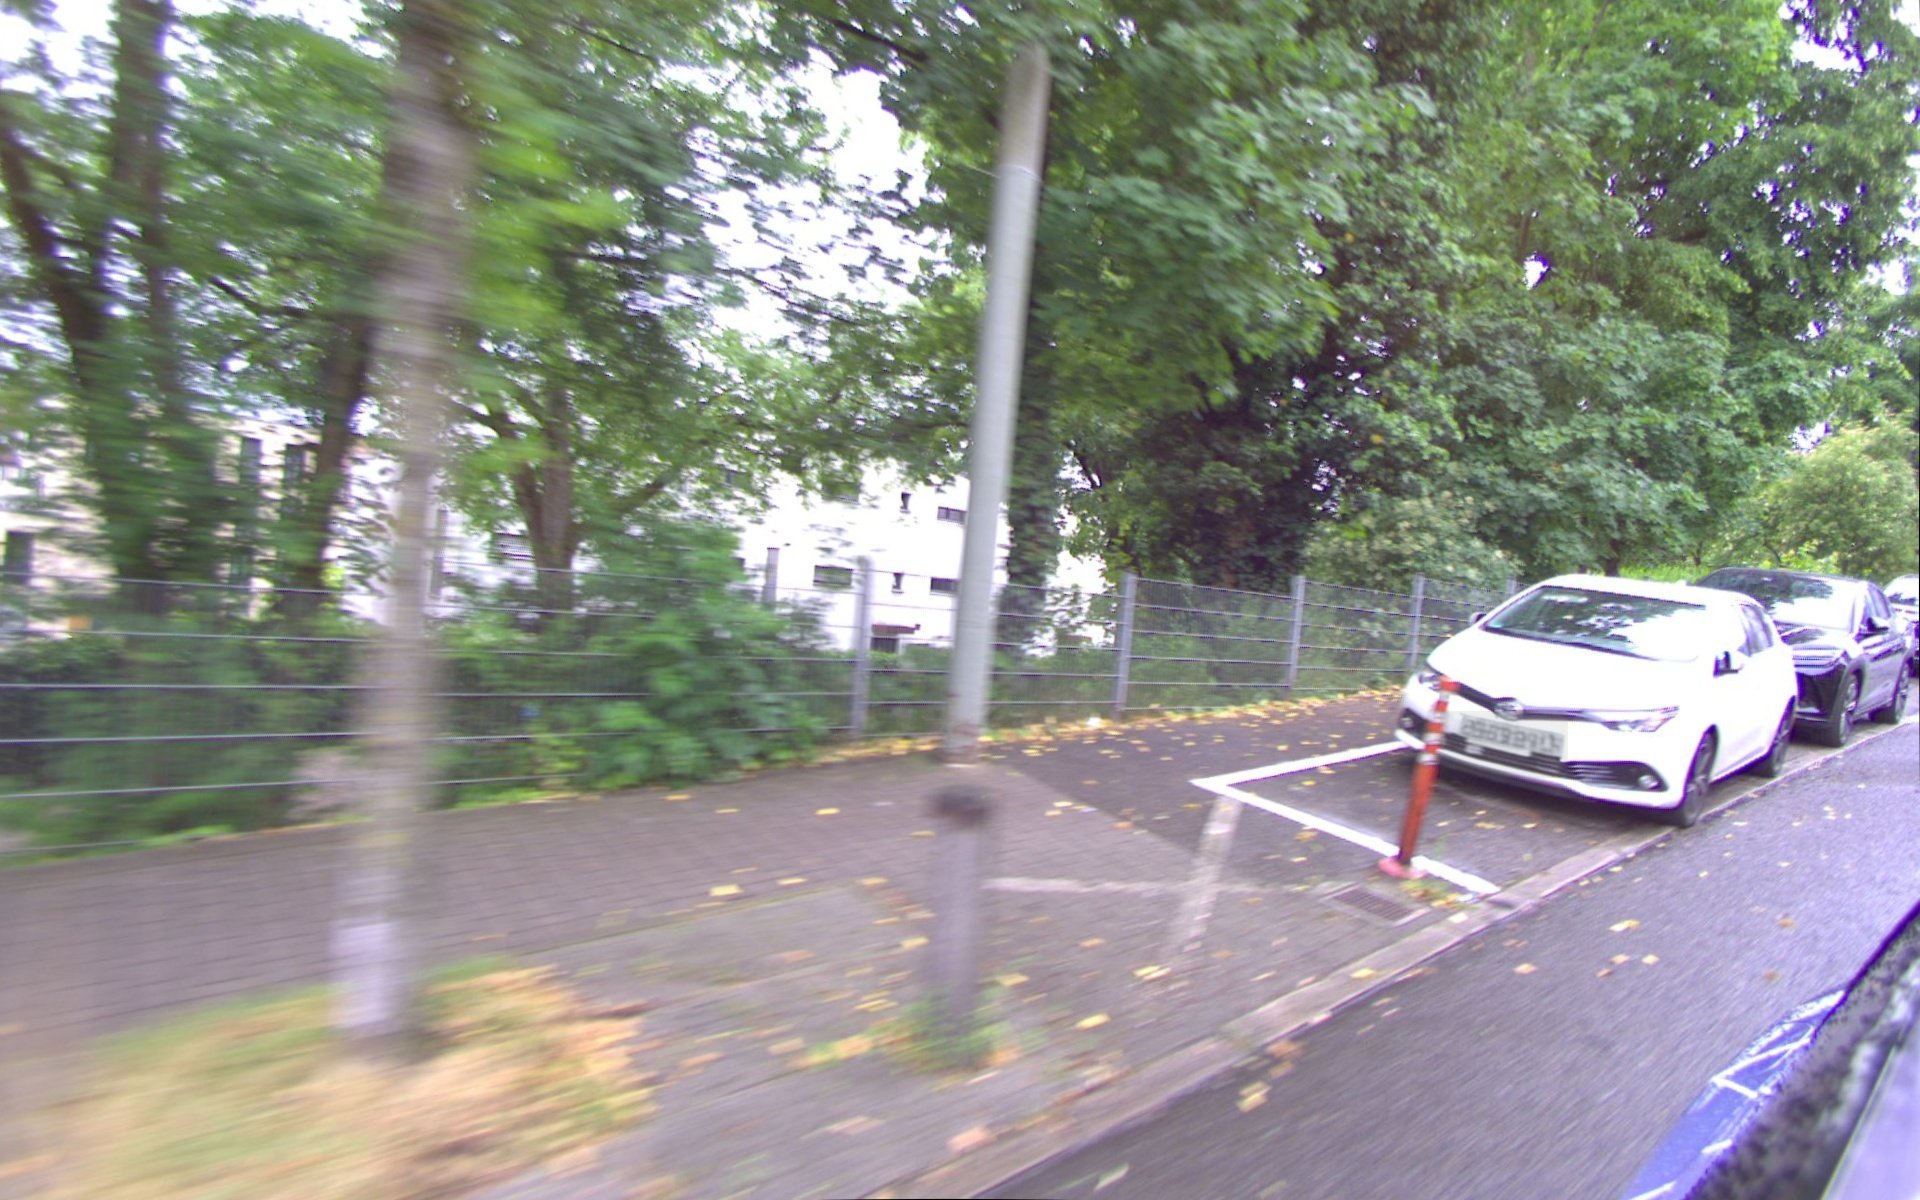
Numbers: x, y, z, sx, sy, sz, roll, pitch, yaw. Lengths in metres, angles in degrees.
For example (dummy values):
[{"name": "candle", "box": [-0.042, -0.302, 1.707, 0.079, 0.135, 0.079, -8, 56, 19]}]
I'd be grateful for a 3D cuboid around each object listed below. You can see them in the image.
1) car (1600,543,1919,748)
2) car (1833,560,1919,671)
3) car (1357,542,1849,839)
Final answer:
[{"name": "car", "box": [9.152, 0.408, 11.222, 4.796, 1.670, 1.927, 1, 6, -40]}, {"name": "car", "box": [17.059, 0.290, 17.492, 4.728, 1.669, 1.975, 0, 7, -38]}, {"name": "car", "box": [5.121, 0.494, 7.733, 4.797, 1.479, 1.747, 1, 6, -41]}]
